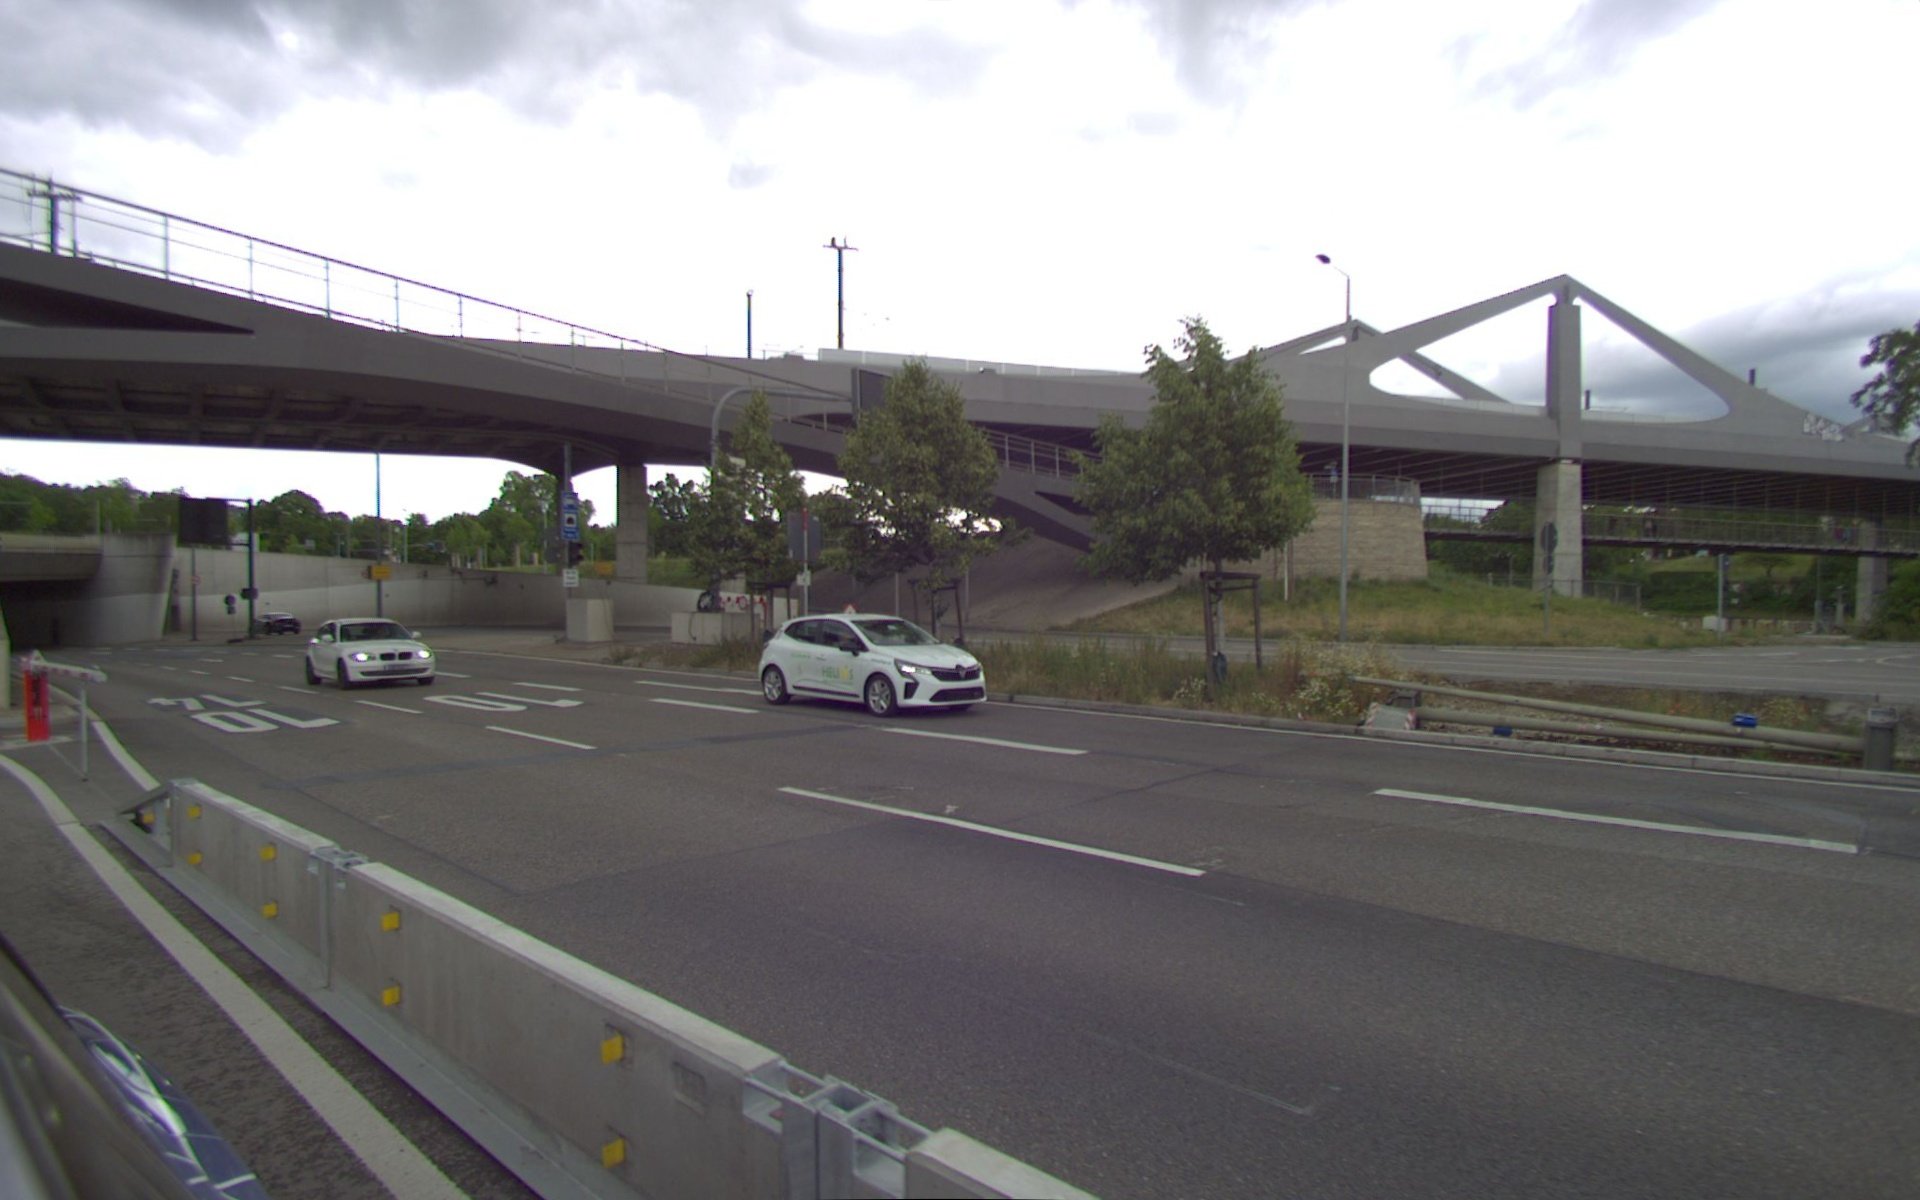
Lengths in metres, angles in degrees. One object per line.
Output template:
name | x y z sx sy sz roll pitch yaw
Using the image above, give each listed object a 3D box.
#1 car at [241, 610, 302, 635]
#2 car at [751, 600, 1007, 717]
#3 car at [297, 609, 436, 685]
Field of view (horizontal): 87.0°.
car | -43.291 1.400 63.620 4.607 1.489 1.772 -1 0 37
car | -1.321 0.789 15.278 3.997 1.495 1.559 -1 1 43
car | -12.869 0.966 21.836 3.984 1.444 1.620 -2 0 45
